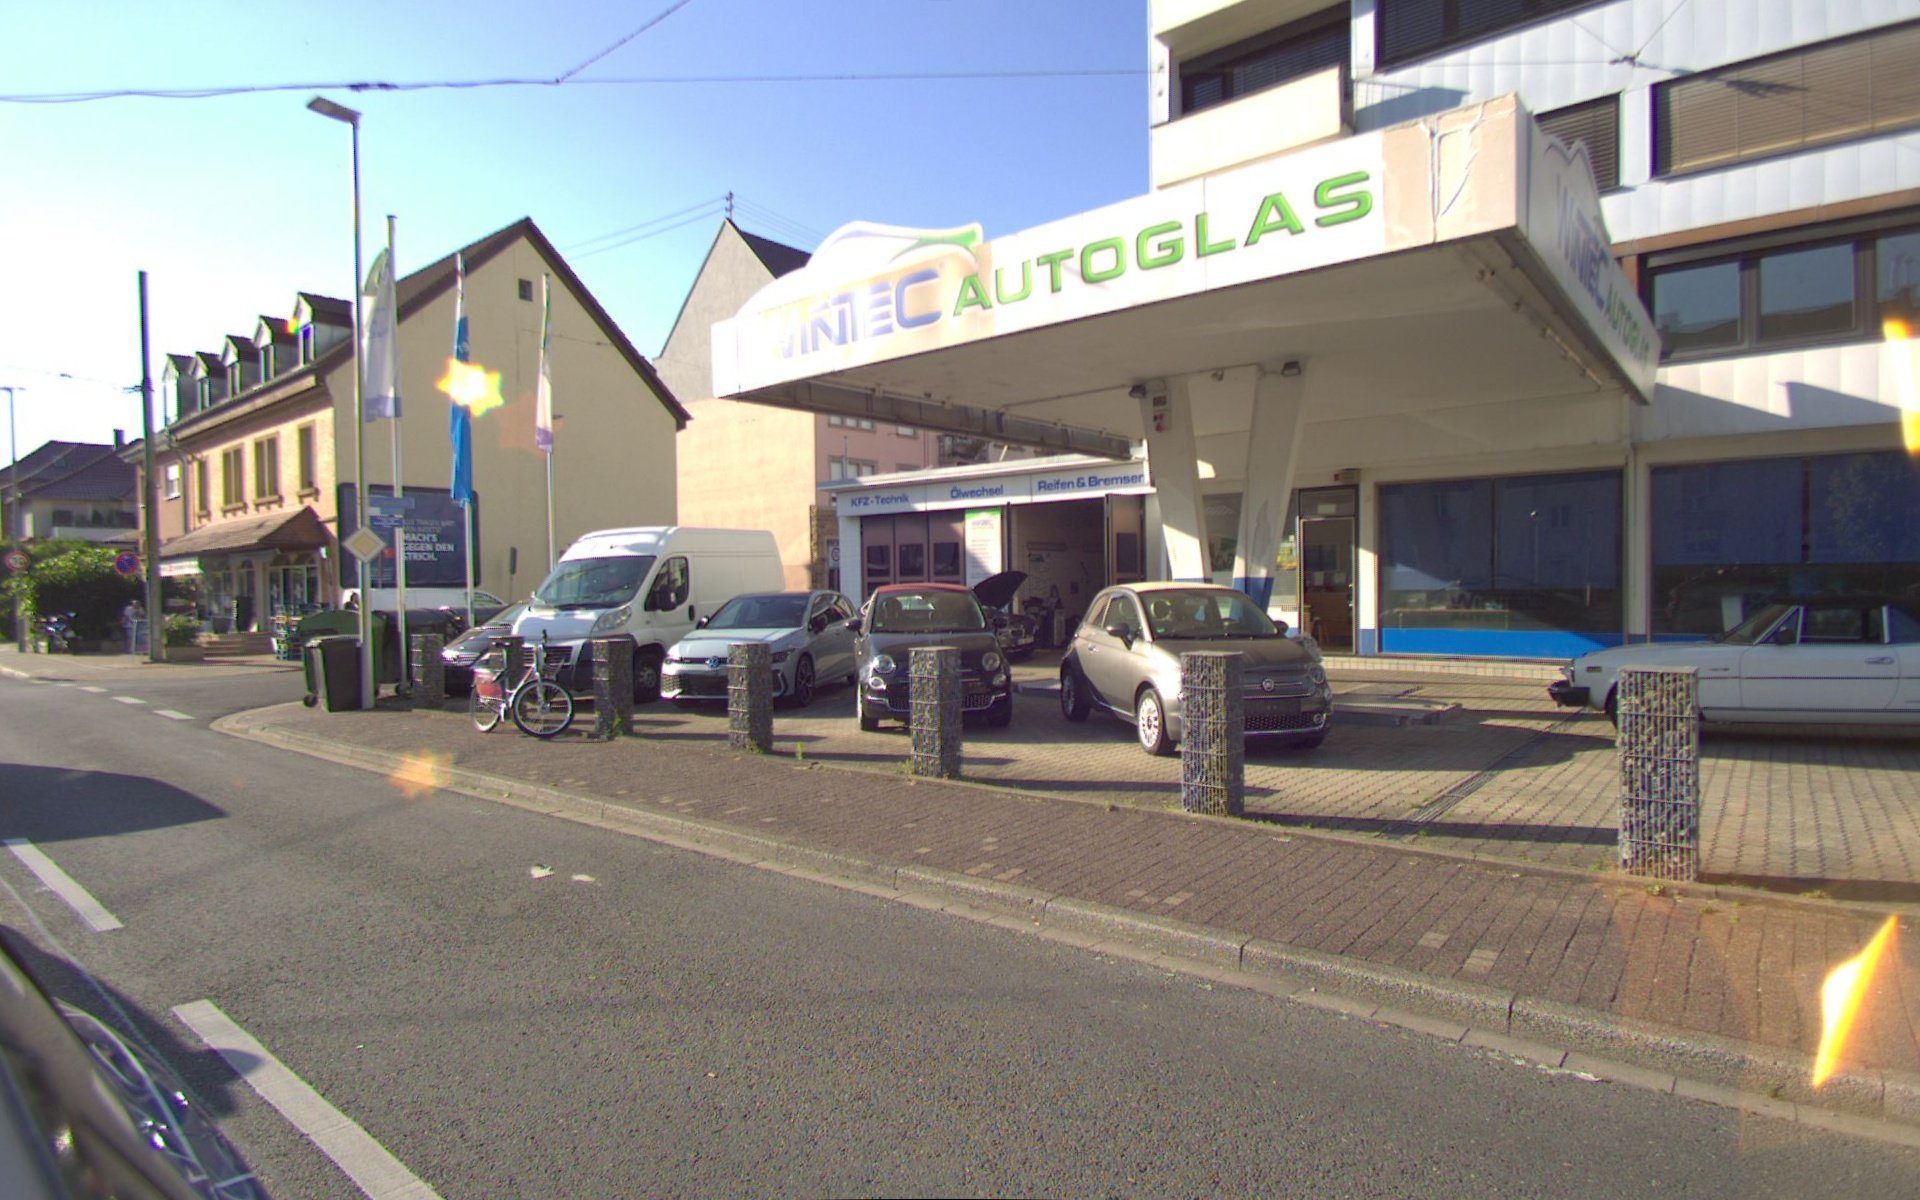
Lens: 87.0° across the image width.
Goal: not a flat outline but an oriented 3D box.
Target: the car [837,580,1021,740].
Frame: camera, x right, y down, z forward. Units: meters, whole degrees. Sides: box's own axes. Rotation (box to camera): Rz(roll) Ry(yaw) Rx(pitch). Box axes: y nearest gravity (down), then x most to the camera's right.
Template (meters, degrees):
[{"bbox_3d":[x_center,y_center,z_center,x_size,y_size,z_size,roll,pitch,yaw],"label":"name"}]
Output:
[{"bbox_3d":[-0.492,0.567,11.509,1.569,1.508,3.443,-1,0,-10],"label":"car"}]

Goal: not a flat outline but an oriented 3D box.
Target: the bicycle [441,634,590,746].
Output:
[{"bbox_3d":[-4.904,0.944,11.123,1.789,1.094,0.716,-1,1,37],"label":"bicycle"}]

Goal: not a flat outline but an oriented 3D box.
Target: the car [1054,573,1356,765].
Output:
[{"bbox_3d":[2.145,0.538,9.795,1.517,1.497,3.381,-1,0,-11],"label":"car"}]

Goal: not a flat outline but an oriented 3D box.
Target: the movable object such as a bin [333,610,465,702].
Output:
[{"bbox_3d":[-9.585,0.919,17.370,1.039,1.475,1.787,-1,0,15],"label":"movable object such as a bin"}]

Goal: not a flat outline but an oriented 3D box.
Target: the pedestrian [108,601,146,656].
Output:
[{"bbox_3d":[-26.646,0.891,32.379,0.859,1.726,0.799,-1,0,42],"label":"pedestrian"}]

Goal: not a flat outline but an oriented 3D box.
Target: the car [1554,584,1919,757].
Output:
[{"bbox_3d":[7.377,0.545,8.572,3.898,1.308,1.506,-1,-1,37],"label":"car"}]

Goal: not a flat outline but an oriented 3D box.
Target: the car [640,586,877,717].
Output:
[{"bbox_3d":[-2.540,0.591,13.806,1.725,1.508,4.016,-1,0,12],"label":"car"}]

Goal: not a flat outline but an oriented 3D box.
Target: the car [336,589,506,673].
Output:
[{"bbox_3d":[-13.901,0.743,26.253,1.449,2.029,3.628,-1,0,37],"label":"car"}]

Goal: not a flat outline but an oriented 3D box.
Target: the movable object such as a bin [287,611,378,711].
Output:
[{"bbox_3d":[-9.715,0.921,15.715,1.030,1.475,0.798,-1,0,-18],"label":"movable object such as a bin"}]

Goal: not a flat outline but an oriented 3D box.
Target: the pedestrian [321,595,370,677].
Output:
[{"bbox_3d":[-14.493,0.832,23.880,0.754,1.866,0.825,-1,0,-12],"label":"pedestrian"}]

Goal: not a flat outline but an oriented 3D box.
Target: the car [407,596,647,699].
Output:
[{"bbox_3d":[-7.071,0.707,17.010,1.725,1.488,4.016,-1,0,12],"label":"car"}]

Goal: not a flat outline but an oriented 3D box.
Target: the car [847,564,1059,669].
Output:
[{"bbox_3d":[-0.215,0.323,20.921,4.255,1.958,1.720,-1,0,40],"label":"car"}]

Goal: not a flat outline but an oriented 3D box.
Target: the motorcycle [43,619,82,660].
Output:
[{"bbox_3d":[-27.975,1.209,31.530,2.186,1.226,0.699,-1,0,43],"label":"motorcycle"}]

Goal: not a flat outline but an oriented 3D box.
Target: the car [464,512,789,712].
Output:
[{"bbox_3d":[-4.696,0.135,15.224,2.098,2.472,4.963,-1,0,18],"label":"car"}]
